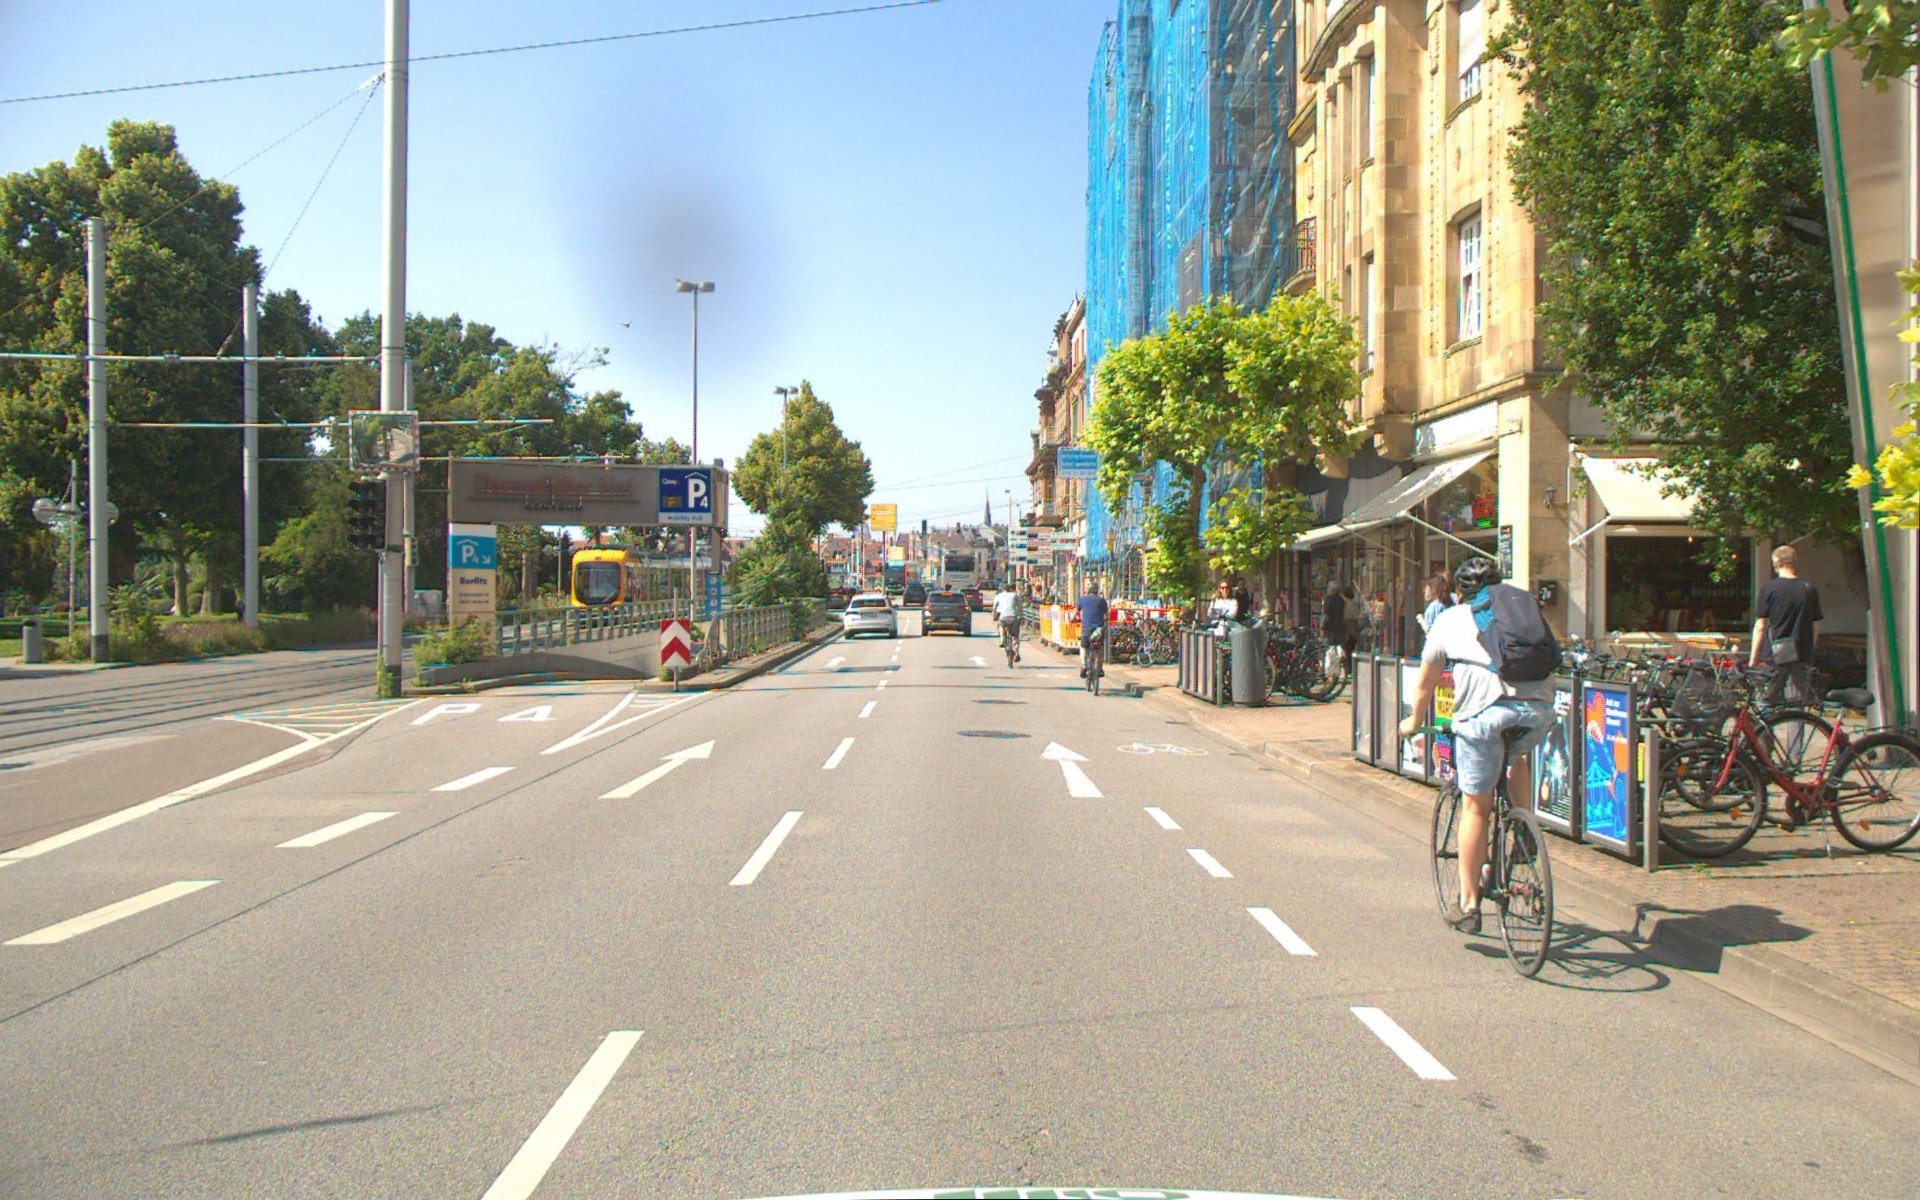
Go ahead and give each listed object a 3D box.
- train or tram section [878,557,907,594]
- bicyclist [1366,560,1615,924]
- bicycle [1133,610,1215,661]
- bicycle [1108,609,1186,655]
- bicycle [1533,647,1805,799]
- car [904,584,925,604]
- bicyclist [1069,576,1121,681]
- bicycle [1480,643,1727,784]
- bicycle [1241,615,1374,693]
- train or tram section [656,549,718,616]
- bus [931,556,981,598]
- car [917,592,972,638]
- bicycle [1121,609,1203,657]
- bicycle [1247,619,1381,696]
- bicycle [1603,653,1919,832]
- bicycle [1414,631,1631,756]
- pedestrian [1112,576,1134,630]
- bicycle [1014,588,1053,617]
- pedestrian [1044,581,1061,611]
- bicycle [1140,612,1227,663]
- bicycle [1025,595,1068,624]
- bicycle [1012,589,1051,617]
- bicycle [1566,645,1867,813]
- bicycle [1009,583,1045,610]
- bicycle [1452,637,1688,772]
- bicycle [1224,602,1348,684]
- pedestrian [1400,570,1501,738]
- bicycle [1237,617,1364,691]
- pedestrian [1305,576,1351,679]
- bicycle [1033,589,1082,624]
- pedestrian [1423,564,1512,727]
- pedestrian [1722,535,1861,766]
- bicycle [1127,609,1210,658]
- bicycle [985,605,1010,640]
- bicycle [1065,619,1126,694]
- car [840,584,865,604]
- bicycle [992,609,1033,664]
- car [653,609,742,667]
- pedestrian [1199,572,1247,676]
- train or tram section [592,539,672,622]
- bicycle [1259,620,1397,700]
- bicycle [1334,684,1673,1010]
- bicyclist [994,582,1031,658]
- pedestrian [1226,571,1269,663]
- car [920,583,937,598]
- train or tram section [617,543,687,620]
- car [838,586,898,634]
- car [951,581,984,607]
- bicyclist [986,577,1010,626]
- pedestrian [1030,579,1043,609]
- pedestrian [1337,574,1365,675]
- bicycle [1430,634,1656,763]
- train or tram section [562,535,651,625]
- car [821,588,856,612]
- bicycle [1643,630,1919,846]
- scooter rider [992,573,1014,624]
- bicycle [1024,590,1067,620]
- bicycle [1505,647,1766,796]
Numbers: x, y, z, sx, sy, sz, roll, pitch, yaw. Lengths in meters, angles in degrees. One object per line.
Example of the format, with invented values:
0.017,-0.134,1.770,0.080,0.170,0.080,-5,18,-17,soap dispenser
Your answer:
-7.146,-2.563,174.154,2.766,3.643,10.026,2,0,-3,train or tram section
2.339,0.587,7.422,0.674,1.488,1.142,2,0,-3,bicyclist
4.517,0.737,34.900,1.728,1.036,0.480,0,0,-22,bicycle
4.268,0.726,37.716,1.718,1.036,0.482,0,0,-3,bicycle
4.852,0.830,11.351,1.683,1.002,0.482,0,0,-3,bicycle
-3.223,-0.448,116.396,1.422,1.323,3.340,2,0,-2,car
2.168,0.450,26.631,0.674,1.644,0.918,2,0,-2,bicyclist
4.903,0.853,12.641,1.718,1.036,0.482,0,0,-3,bicycle
4.859,0.750,23.176,1.718,1.036,0.586,-1,0,-3,bicycle
-15.718,-1.007,95.570,2.560,3.643,6.016,2,0,-1,train or tram section
-0.321,-1.595,116.885,2.910,2.825,8.635,2,0,-4,bus
-0.529,0.504,58.699,1.835,1.518,4.000,2,0,0,car
4.435,0.720,36.370,1.718,1.036,0.482,0,0,-3,bicycle
4.819,0.776,22.555,1.718,1.036,0.482,0,0,-3,bicycle
4.835,0.847,10.004,1.718,1.036,0.482,0,0,-3,bicycle
4.827,0.794,14.229,1.718,1.036,0.482,0,0,-3,bicycle
5.555,0.106,56.507,0.626,1.807,0.649,2,0,-1,pedestrian
3.183,0.104,71.683,1.659,1.262,0.608,1,0,-1,bicycle
5.246,-0.229,93.830,0.740,1.684,0.837,-3,0,-2,pedestrian
4.580,0.760,33.972,1.718,1.036,0.482,0,0,-3,bicycle
3.448,0.369,65.807,1.659,1.106,0.608,1,0,-1,bicycle
3.142,0.146,72.839,1.659,1.199,0.490,1,0,-1,bicycle
4.808,0.809,10.547,1.718,1.036,0.482,0,-1,-3,bicycle
3.100,-0.175,76.619,1.659,1.199,0.608,-1,1,-1,bicycle
4.856,0.822,13.205,1.718,1.036,0.482,0,0,-3,bicycle
4.848,0.638,24.626,1.718,1.202,0.579,0,0,-3,bicycle
5.004,0.537,16.900,0.684,1.654,0.699,-1,0,-17,pedestrian
4.902,0.776,23.841,1.718,1.036,0.557,0,0,-3,bicycle
6.239,0.462,28.032,0.532,1.712,0.492,-1,-1,-42,pedestrian
3.459,0.236,58.756,1.659,1.199,0.608,1,0,-1,bicycle
5.348,0.466,17.439,0.589,1.654,0.642,-3,0,-13,pedestrian
6.761,0.394,13.490,0.654,1.812,0.985,-1,0,3,pedestrian
4.512,0.719,35.840,1.718,1.036,0.482,0,0,-3,bicycle
1.230,0.727,54.504,0.719,1.112,1.897,2,0,-2,bicycle
2.161,0.888,26.654,0.719,1.112,1.910,2,0,-2,bicycle
-7.329,-0.423,113.321,1.422,1.323,4.000,2,0,0,car
1.134,0.768,35.801,0.719,1.112,1.897,2,0,-2,bicycle
-7.714,1.088,48.896,1.953,1.534,4.000,2,0,0,car
4.355,0.396,27.442,0.643,1.712,0.653,0,-1,-5,pedestrian
-15.273,-0.889,77.348,2.560,3.643,6.102,2,0,-1,train or tram section
4.857,0.783,21.847,1.718,1.036,0.482,0,0,-3,bicycle
2.329,1.005,7.415,0.719,1.112,2.130,2,0,-2,bicycle
1.135,0.423,35.811,0.674,1.604,1.049,2,0,-3,bicyclist
6.028,0.350,34.698,0.797,1.881,0.892,-2,0,6,pedestrian
-2.851,-0.840,150.115,1.422,1.323,3.342,2,0,0,car
-15.415,-0.926,83.080,2.560,3.643,5.355,2,0,-1,train or tram section
-3.116,0.308,56.688,1.821,1.533,4.000,2,0,0,car
0.457,-0.364,100.614,1.953,1.518,4.000,2,0,0,car
1.261,0.046,54.466,0.674,1.604,1.049,2,0,-3,bicyclist
4.241,-0.323,91.801,0.641,1.649,0.815,-1,1,-3,pedestrian
6.703,0.413,28.342,0.373,1.712,0.477,-1,0,20,pedestrian
4.819,0.804,13.709,1.718,1.036,0.482,0,0,-3,bicycle
-15.132,-0.850,71.262,2.561,3.643,6.102,2,0,-1,train or tram section
-7.363,-0.007,100.741,1.778,1.355,4.000,2,0,0,car
4.795,0.758,9.308,1.718,1.167,0.482,0,0,-3,bicycle
1.514,-0.070,58.079,0.674,1.759,0.778,2,0,-2,scooter rider
3.473,0.209,67.246,1.735,1.199,0.608,1,0,-1,bicycle
4.892,0.872,12.019,1.718,1.036,0.482,0,0,-3,bicycle
